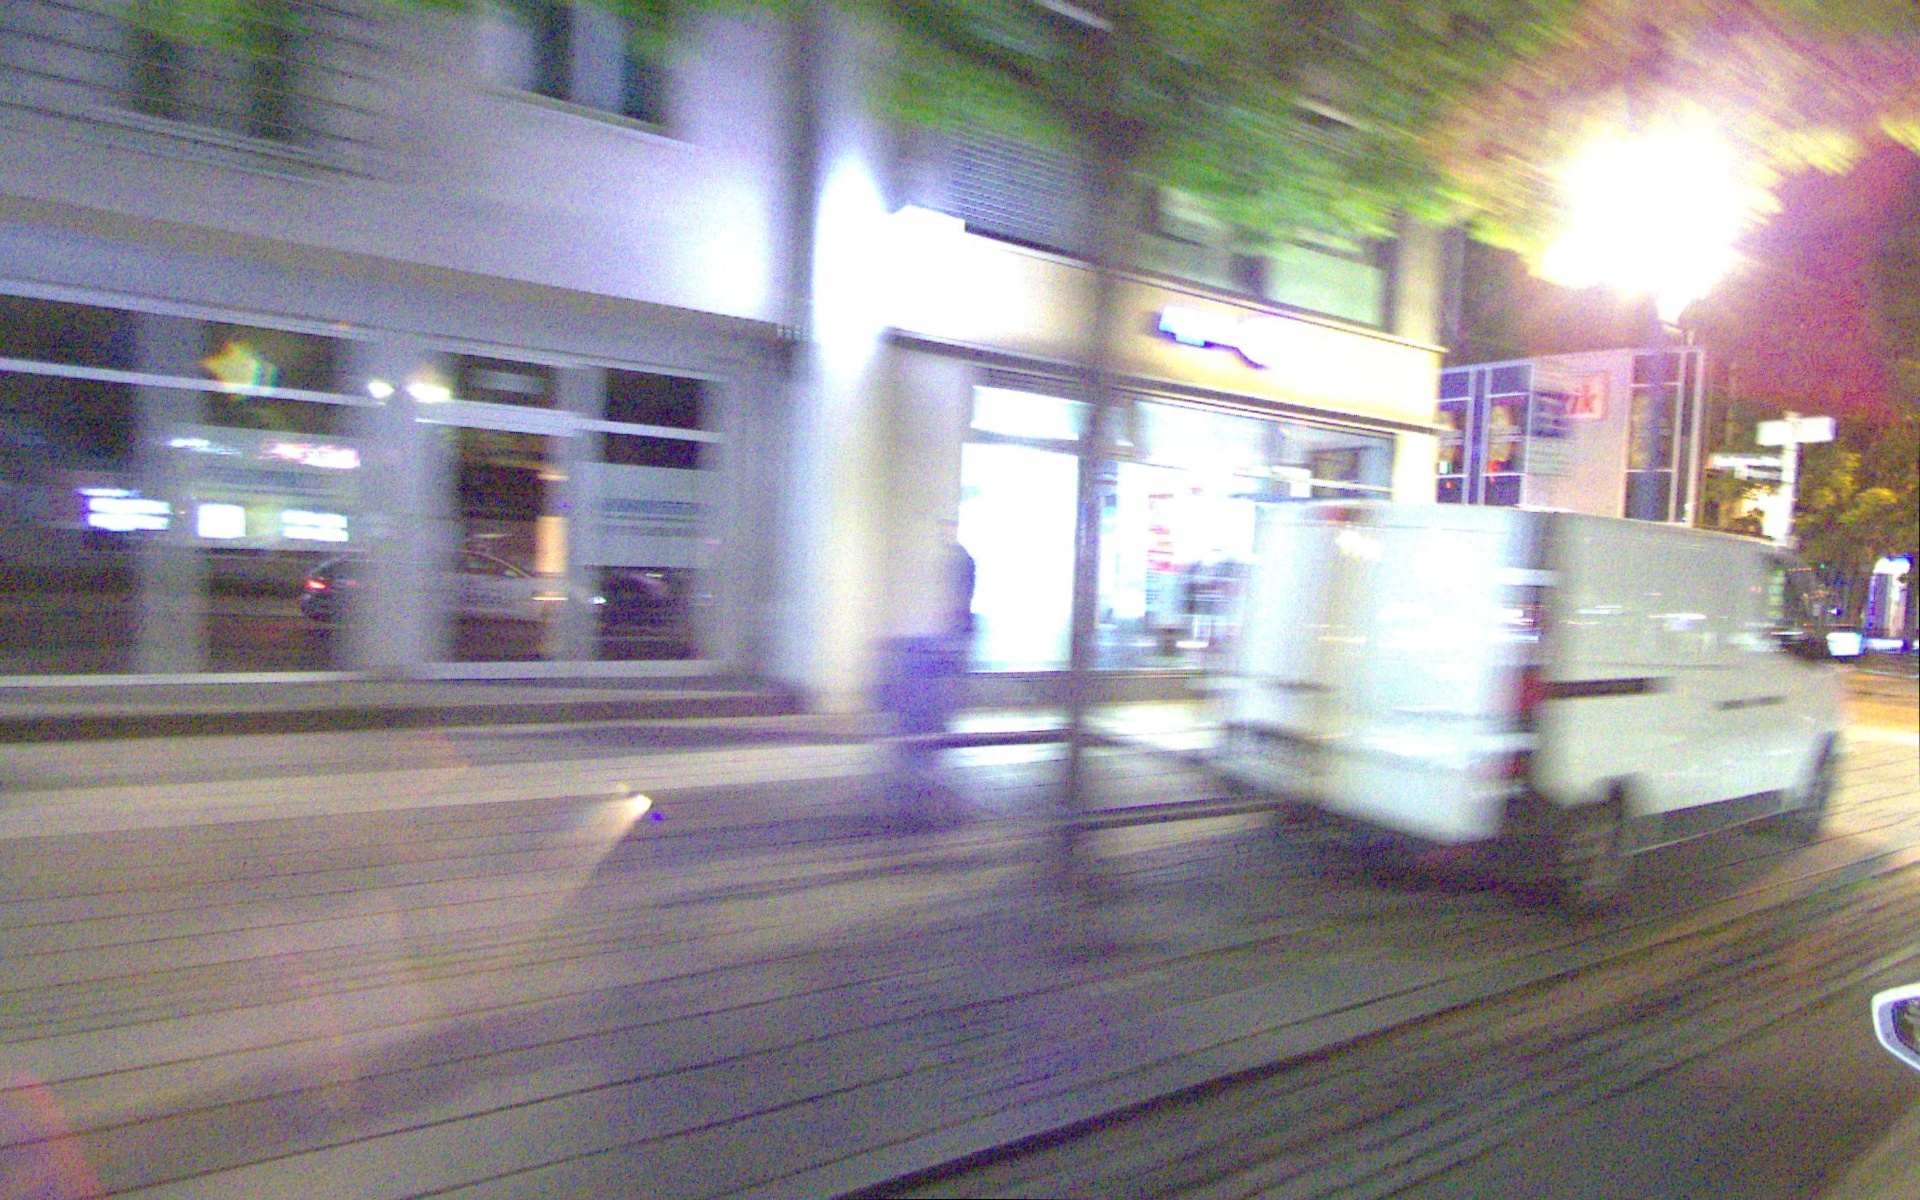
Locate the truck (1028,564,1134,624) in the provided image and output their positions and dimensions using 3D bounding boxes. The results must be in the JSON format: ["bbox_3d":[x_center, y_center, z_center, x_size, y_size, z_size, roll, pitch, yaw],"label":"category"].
[{"bbox_3d":[4.414,-0.253,37.277,1.836,2.050,4.010,1,1,-29],"label":"truck"}]

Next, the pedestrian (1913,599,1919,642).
[{"bbox_3d":[37.196,0.800,38.676,0.624,1.658,0.476,1,2,-28],"label":"pedestrian"}]

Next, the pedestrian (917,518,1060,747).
[{"bbox_3d":[0.227,0.248,8.161,0.897,1.742,0.665,1,2,-29],"label":"pedestrian"}]

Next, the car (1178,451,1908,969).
[{"bbox_3d":[3.858,0.437,6.265,5.039,2.115,1.840,1,4,-35],"label":"car"}]
